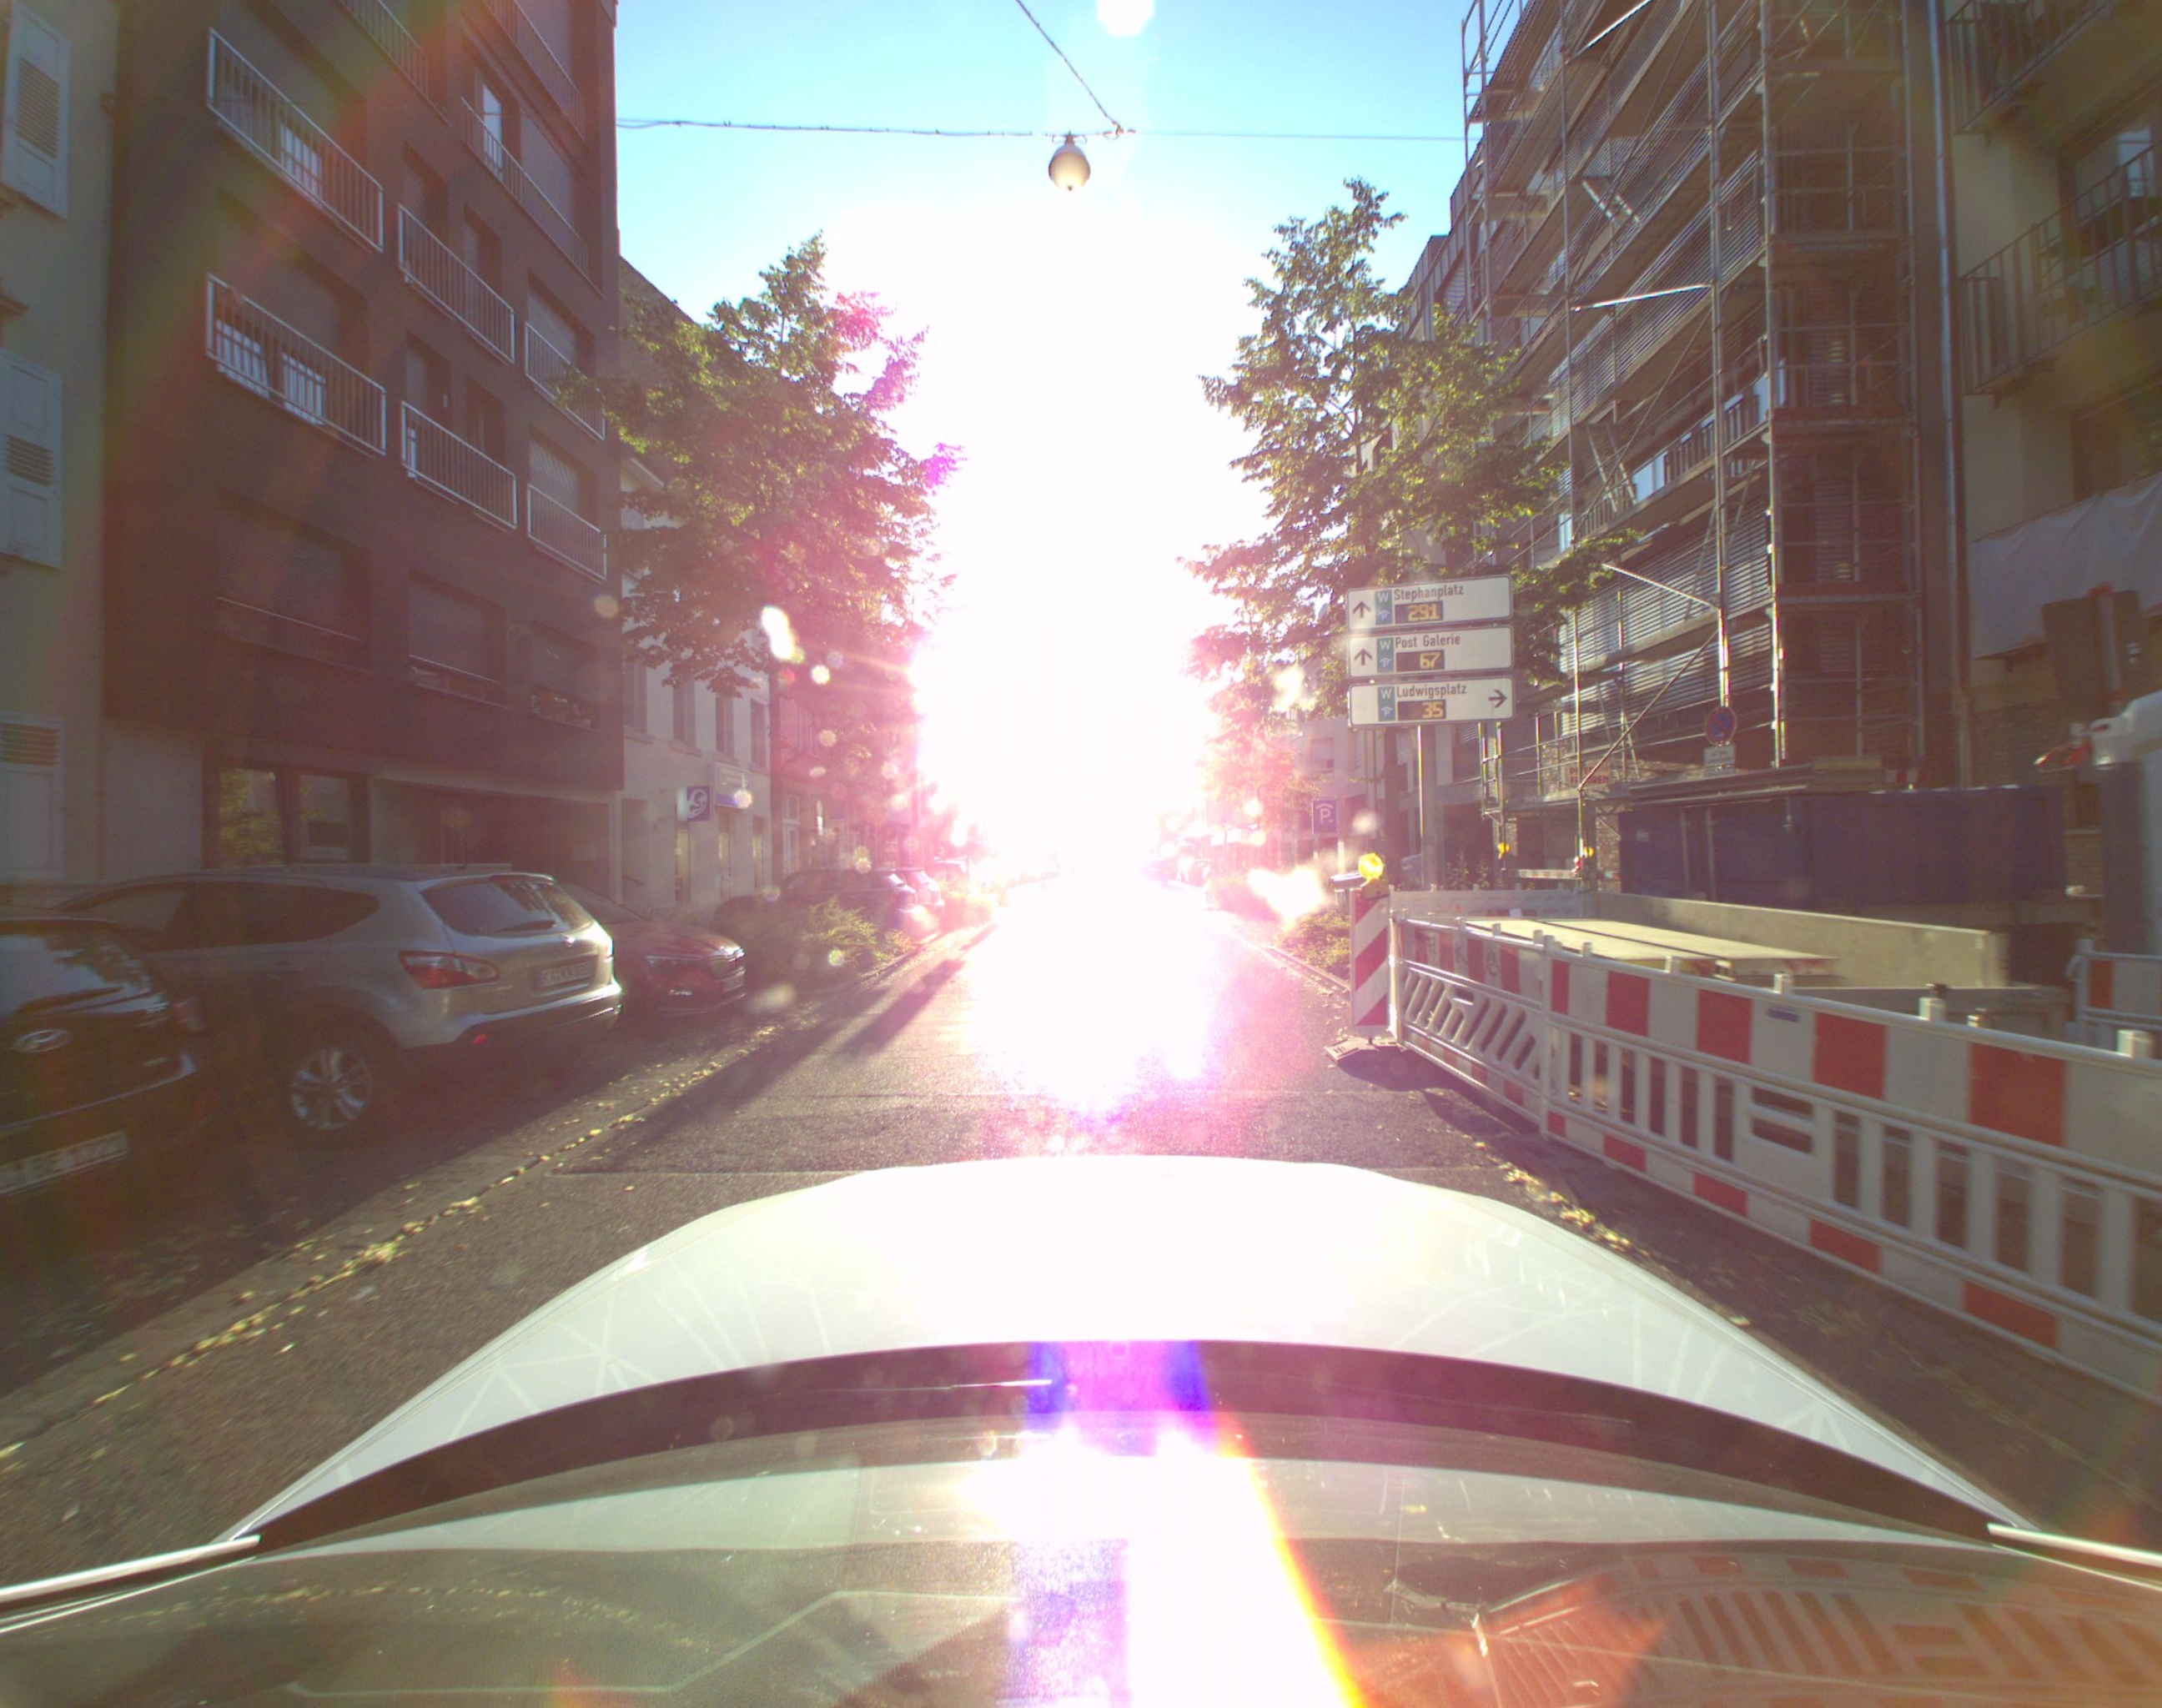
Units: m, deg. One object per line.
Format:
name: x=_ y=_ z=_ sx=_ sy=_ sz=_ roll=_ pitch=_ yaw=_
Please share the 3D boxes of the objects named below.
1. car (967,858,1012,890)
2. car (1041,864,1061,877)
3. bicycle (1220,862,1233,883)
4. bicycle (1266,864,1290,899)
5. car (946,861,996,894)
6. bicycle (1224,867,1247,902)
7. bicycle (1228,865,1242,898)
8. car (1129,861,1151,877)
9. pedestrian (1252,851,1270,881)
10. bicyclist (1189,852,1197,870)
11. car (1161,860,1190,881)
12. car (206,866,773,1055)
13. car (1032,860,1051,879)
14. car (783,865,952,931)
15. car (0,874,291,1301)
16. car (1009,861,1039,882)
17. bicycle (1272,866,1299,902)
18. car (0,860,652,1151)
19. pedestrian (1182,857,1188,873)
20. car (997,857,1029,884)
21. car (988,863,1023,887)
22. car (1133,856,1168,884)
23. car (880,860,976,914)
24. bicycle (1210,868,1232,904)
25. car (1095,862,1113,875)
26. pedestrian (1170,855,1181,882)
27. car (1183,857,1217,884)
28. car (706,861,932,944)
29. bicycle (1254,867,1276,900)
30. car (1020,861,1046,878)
car: x=-5.044 y=1.078 z=45.386 sx=1.767 sy=1.633 sz=4.240 roll=-2 pitch=-1 yaw=3
car: x=-3.222 y=1.760 z=88.406 sx=1.826 sy=1.328 sz=4.124 roll=-2 pitch=-1 yaw=1
bicycle: x=8.772 y=1.084 z=49.087 sx=0.396 sy=1.234 sz=1.825 roll=-2 pitch=-1 yaw=0
bicycle: x=6.765 y=0.927 z=28.022 sx=0.381 sy=1.189 sz=1.522 roll=0 pitch=-1 yaw=-2
car: x=-5.431 y=1.153 z=40.782 sx=1.767 sy=1.515 sz=3.952 roll=-1 pitch=0 yaw=3
bicycle: x=4.938 y=0.962 z=26.118 sx=0.380 sy=1.100 sz=1.522 roll=-1 pitch=-1 yaw=-1
bicycle: x=5.345 y=0.931 z=28.190 sx=0.368 sy=1.108 sz=1.529 roll=-2 pitch=-1 yaw=14
car: x=5.475 y=1.376 z=75.888 sx=1.914 sy=1.415 sz=4.550 roll=1 pitch=-1 yaw=2
pedestrian: x=10.374 y=0.702 z=46.906 sx=0.807 sy=1.647 sz=0.606 roll=-3 pitch=-2 yaw=2
bicyclist: x=10.867 y=0.707 z=79.097 sx=0.648 sy=1.702 sz=1.095 roll=-1 pitch=-1 yaw=-1
car: x=6.587 y=1.134 z=56.912 sx=1.627 sy=1.424 sz=3.758 roll=-2 pitch=-1 yaw=1
car: x=-5.486 y=0.937 z=8.002 sx=4.196 sy=1.516 sz=1.761 roll=-2 pitch=-1 yaw=-2
car: x=-3.965 y=1.522 z=82.096 sx=1.828 sy=1.854 sz=4.121 roll=-1 pitch=-1 yaw=-1
car: x=-4.850 y=0.989 z=18.822 sx=3.381 sy=1.392 sz=1.688 roll=-1 pitch=0 yaw=4
car: x=-5.699 y=0.903 z=3.281 sx=3.630 sy=1.515 sz=1.652 roll=-2 pitch=0 yaw=7
car: x=-4.618 y=1.380 z=66.802 sx=1.820 sy=1.556 sz=5.139 roll=-3 pitch=-1 yaw=3
bicycle: x=6.669 y=0.961 z=26.605 sx=0.381 sy=1.100 sz=1.520 roll=-1 pitch=-1 yaw=-5
car: x=-5.248 y=0.853 z=5.469 sx=3.807 sy=1.585 sz=1.743 roll=0 pitch=-1 yaw=4
pedestrian: x=11.671 y=1.200 z=91.444 sx=0.684 sy=1.722 sz=0.718 roll=-2 pitch=-1 yaw=8
car: x=-4.997 y=1.220 z=60.409 sx=1.821 sy=1.810 sz=5.347 roll=-3 pitch=-1 yaw=0
car: x=-5.002 y=1.349 z=54.177 sx=1.706 sy=1.440 sz=4.311 roll=-3 pitch=-1 yaw=2
car: x=4.306 y=0.971 z=51.120 sx=1.987 sy=1.655 sz=4.676 roll=1 pitch=-1 yaw=2
car: x=-4.845 y=1.034 z=26.065 sx=2.687 sy=1.520 sz=1.571 roll=-3 pitch=0 yaw=-2
bicycle: x=4.474 y=0.995 z=26.137 sx=0.380 sy=1.100 sz=1.522 roll=-2 pitch=-1 yaw=-1
car: x=2.560 y=1.588 z=88.486 sx=1.876 sy=1.415 sz=4.327 roll=-1 pitch=-1 yaw=2
pedestrian: x=5.879 y=0.917 z=50.750 sx=0.443 sy=1.665 sz=0.561 roll=-2 pitch=-1 yaw=-23
car: x=7.282 y=1.007 z=49.927 sx=1.628 sy=1.553 sz=2.693 roll=-2 pitch=-1 yaw=-1
car: x=-5.141 y=0.921 z=16.340 sx=3.877 sy=1.517 sz=1.858 roll=-1 pitch=0 yaw=2
bicycle: x=6.310 y=0.996 z=27.954 sx=0.380 sy=1.100 sz=1.522 roll=-1 pitch=-1 yaw=-1
car: x=-4.240 y=1.379 z=72.902 sx=1.820 sy=1.439 sz=4.555 roll=-4 pitch=-1 yaw=2
